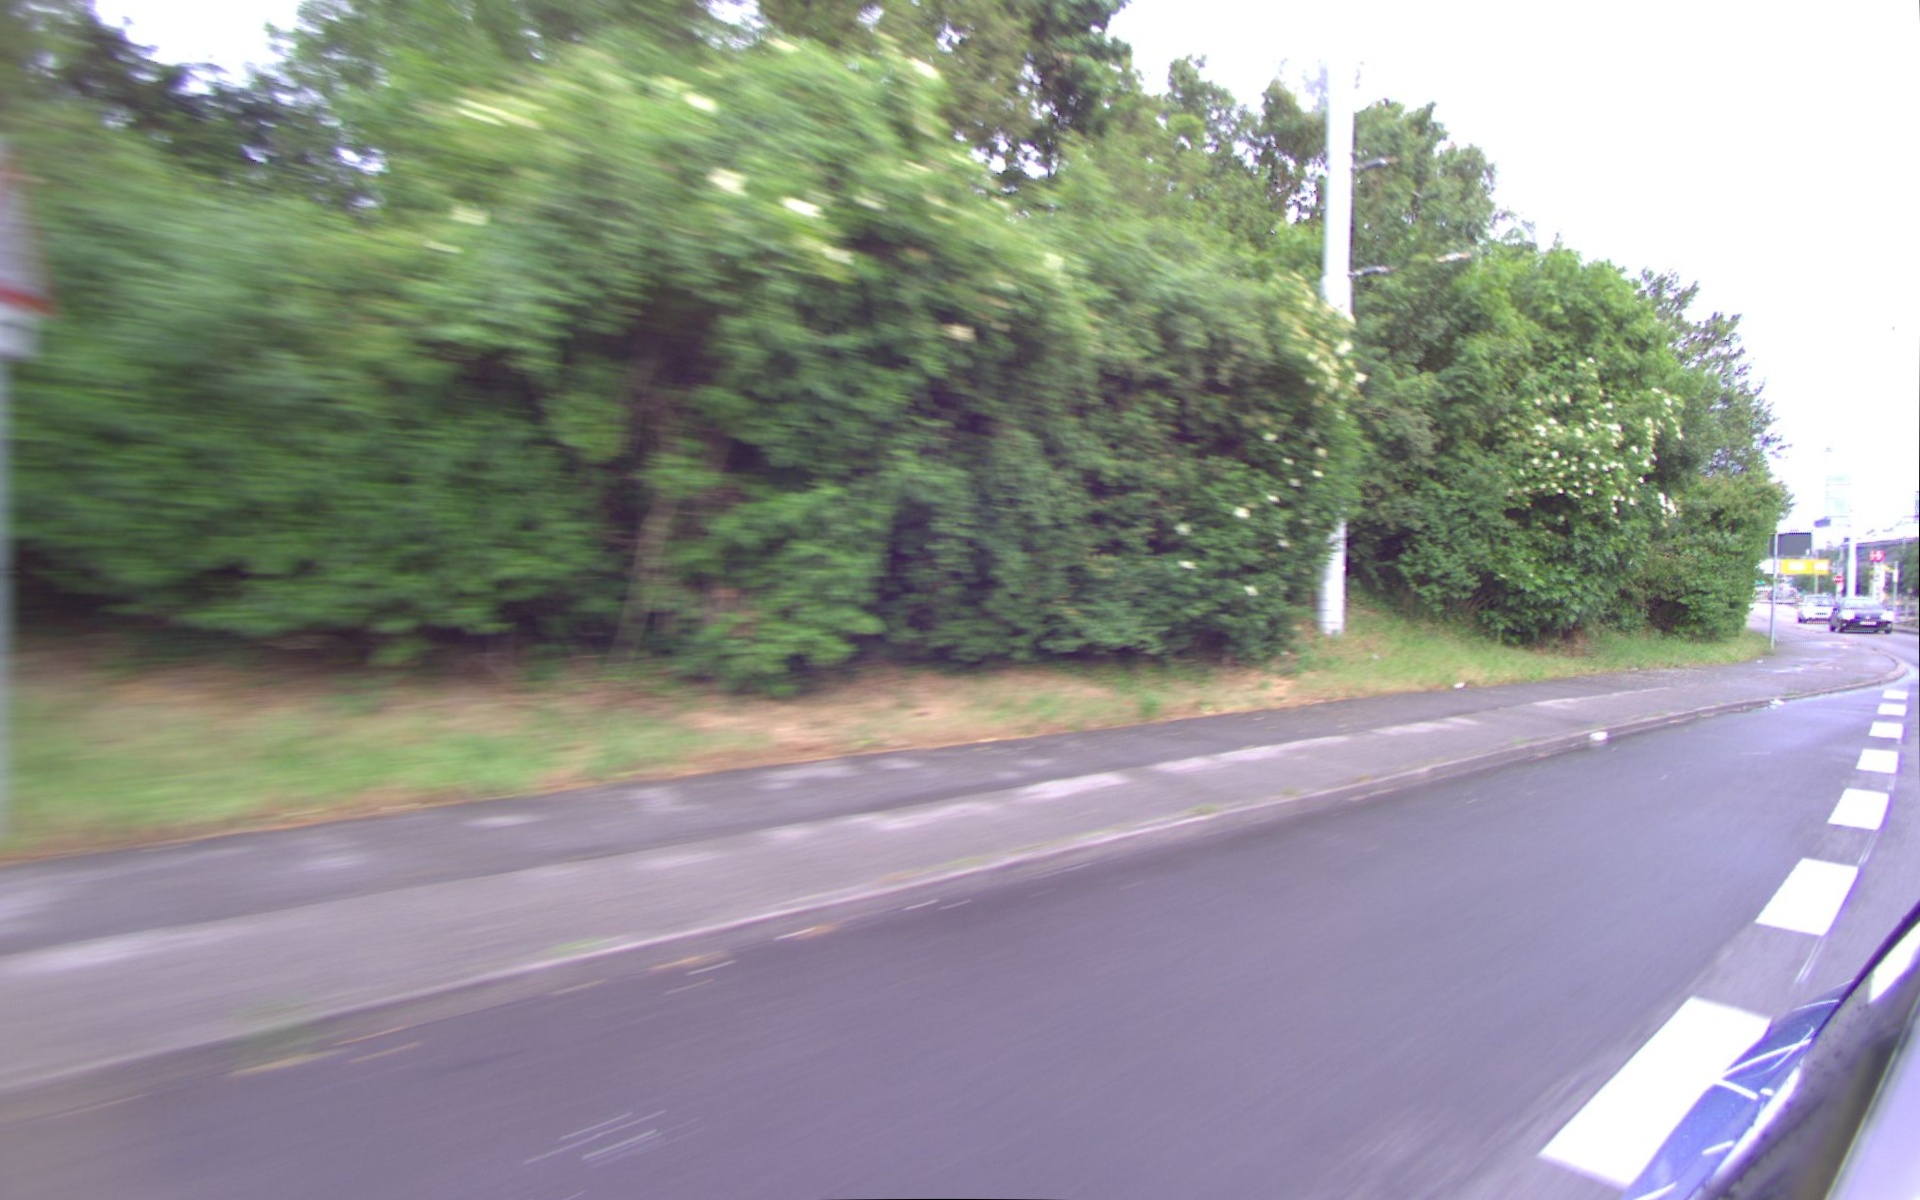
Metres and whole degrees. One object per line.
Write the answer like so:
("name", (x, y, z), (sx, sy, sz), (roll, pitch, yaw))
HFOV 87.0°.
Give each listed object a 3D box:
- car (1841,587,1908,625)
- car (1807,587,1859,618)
("car", (38.535, 0.211, 42.730), (1.772, 1.520, 3.946), (1, 1, 37))
("car", (47.768, 0.109, 55.441), (1.990, 1.591, 3.944), (-1, 0, 39))
